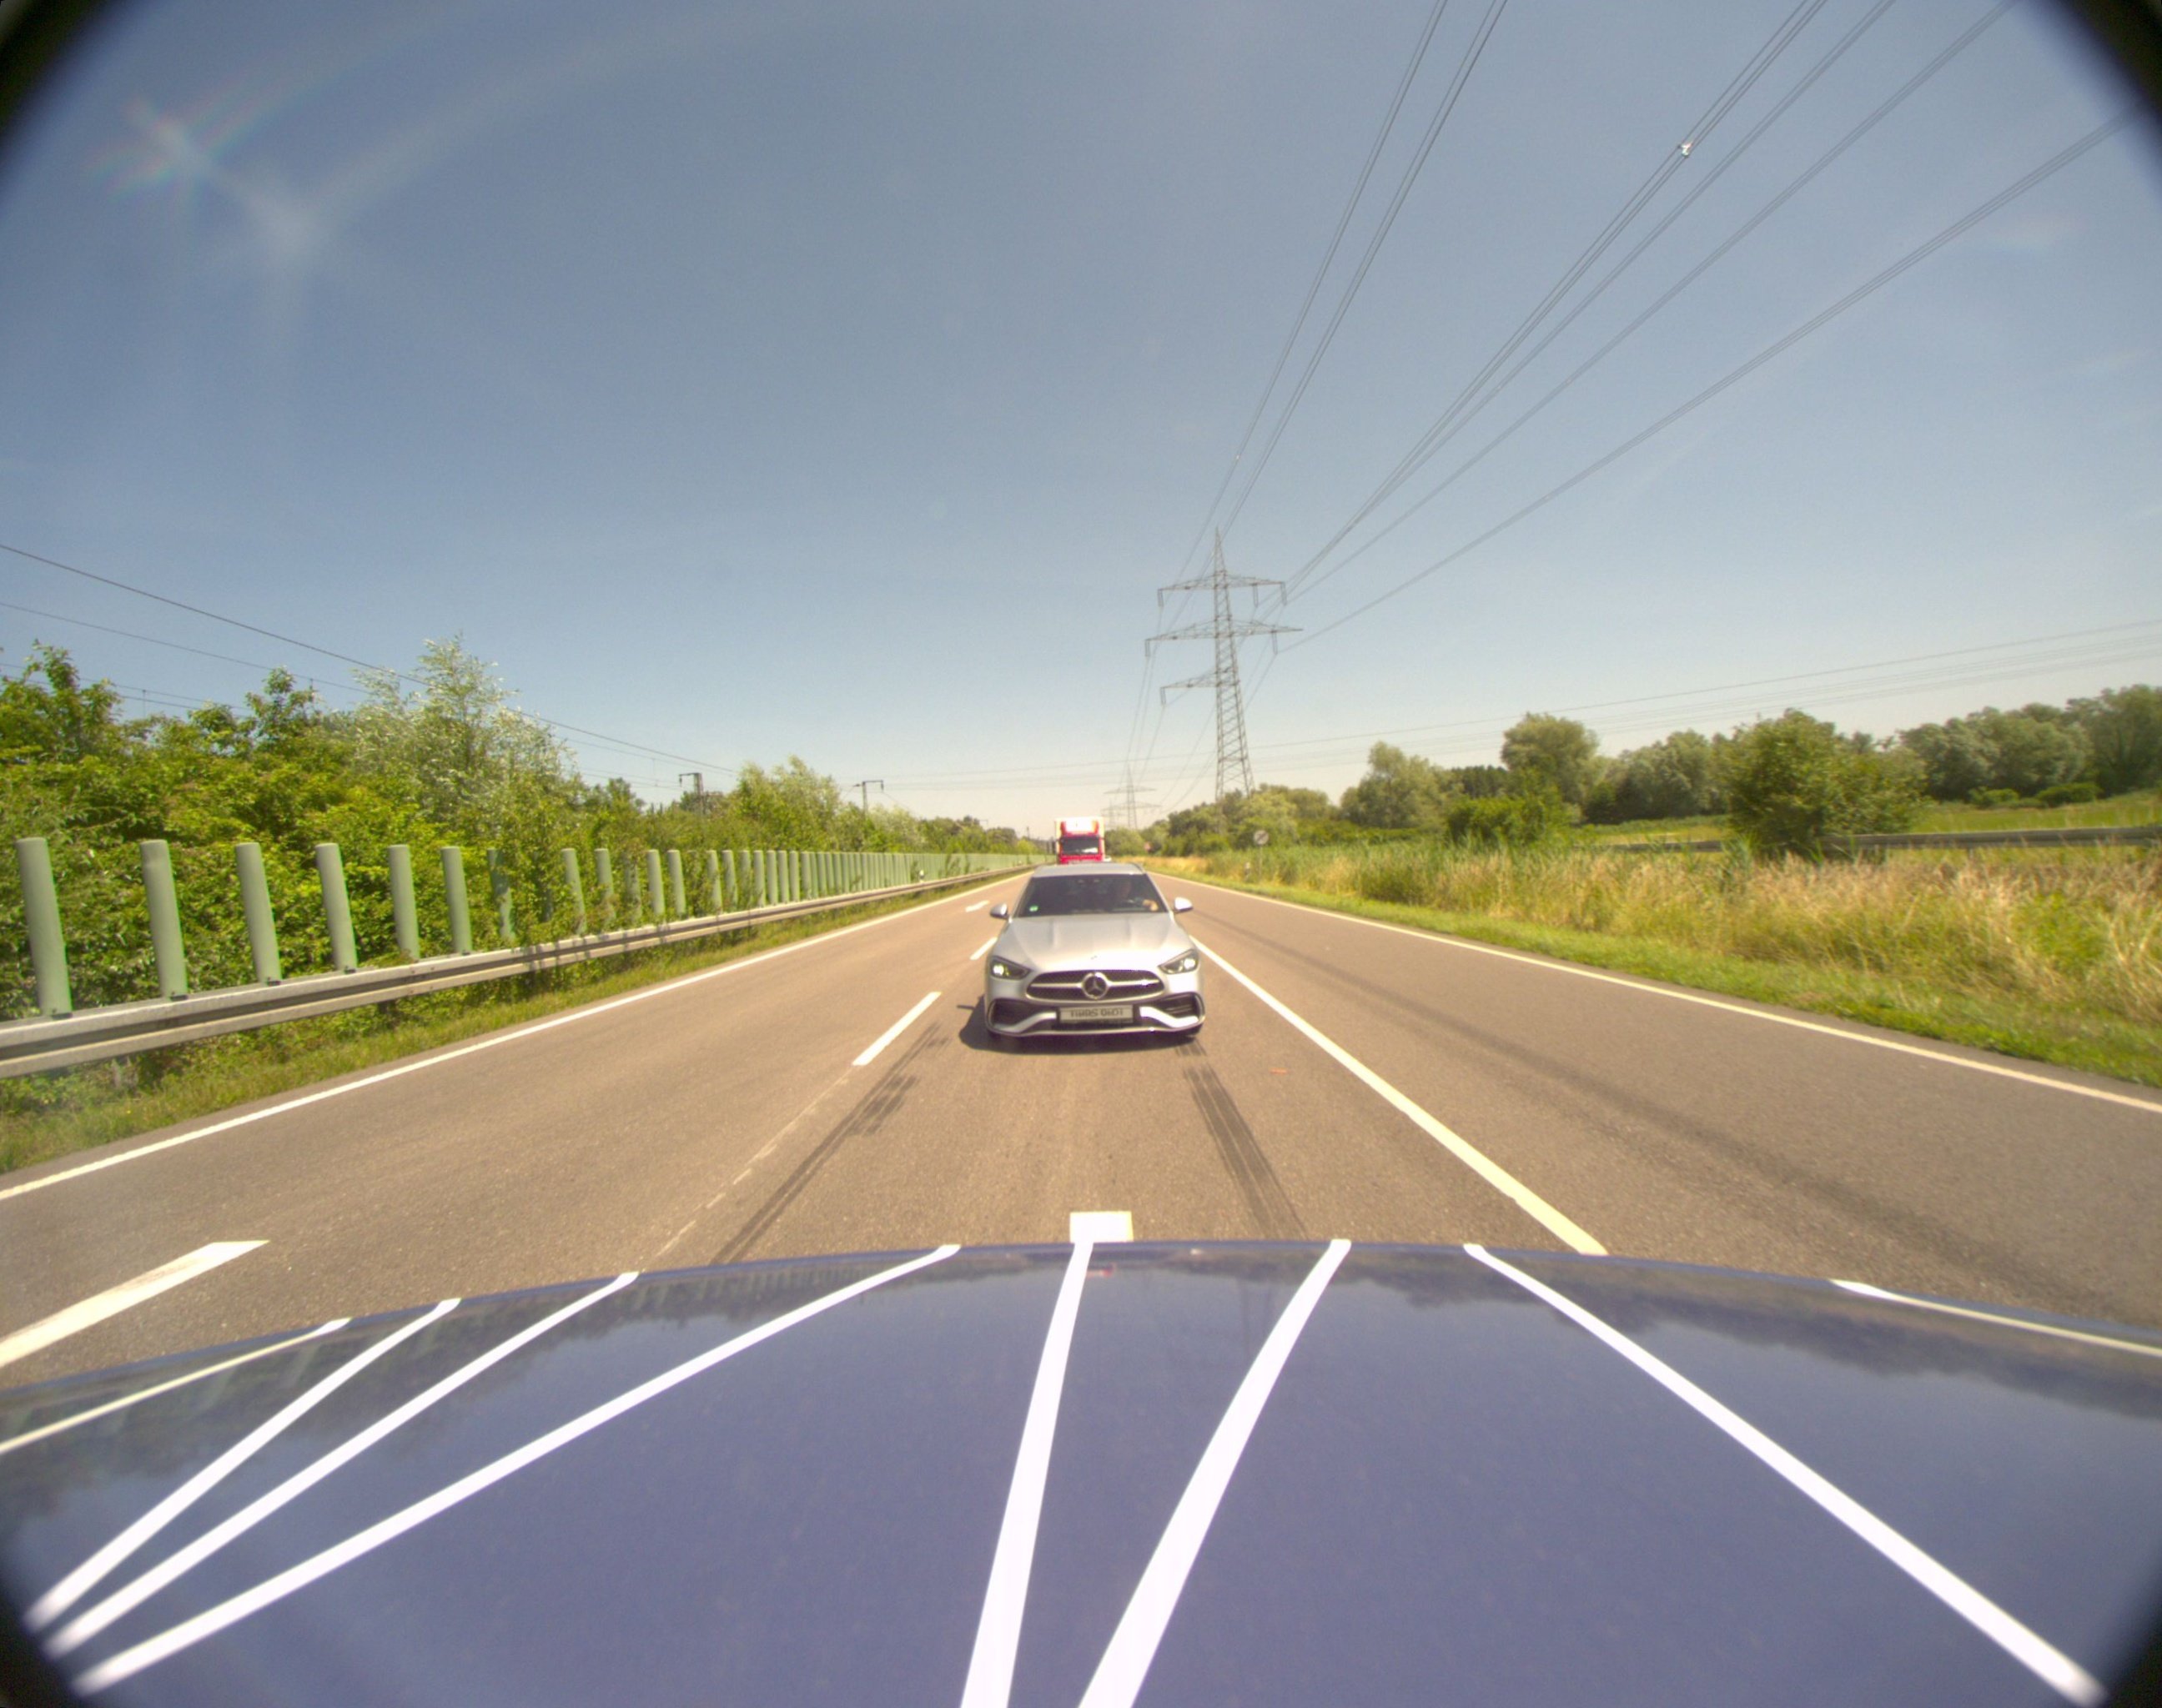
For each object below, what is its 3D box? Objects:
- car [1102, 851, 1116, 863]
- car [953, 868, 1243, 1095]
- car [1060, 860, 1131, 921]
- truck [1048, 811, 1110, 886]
[{"bbox_3d":[3.879,0.368,106.030,1.729,1.432,4.249,-7,0,3],"label":"car"},{"bbox_3d":[0.143,0.941,7.586,1.998,1.437,4.467,-2,0,1],"label":"car"},{"bbox_3d":[0.413,0.925,21.034,1.698,1.385,4.467,-2,0,1],"label":"car"},{"bbox_3d":[-0.187,-0.292,42.040,2.907,3.641,7.154,-4,0,-2],"label":"truck"}]
